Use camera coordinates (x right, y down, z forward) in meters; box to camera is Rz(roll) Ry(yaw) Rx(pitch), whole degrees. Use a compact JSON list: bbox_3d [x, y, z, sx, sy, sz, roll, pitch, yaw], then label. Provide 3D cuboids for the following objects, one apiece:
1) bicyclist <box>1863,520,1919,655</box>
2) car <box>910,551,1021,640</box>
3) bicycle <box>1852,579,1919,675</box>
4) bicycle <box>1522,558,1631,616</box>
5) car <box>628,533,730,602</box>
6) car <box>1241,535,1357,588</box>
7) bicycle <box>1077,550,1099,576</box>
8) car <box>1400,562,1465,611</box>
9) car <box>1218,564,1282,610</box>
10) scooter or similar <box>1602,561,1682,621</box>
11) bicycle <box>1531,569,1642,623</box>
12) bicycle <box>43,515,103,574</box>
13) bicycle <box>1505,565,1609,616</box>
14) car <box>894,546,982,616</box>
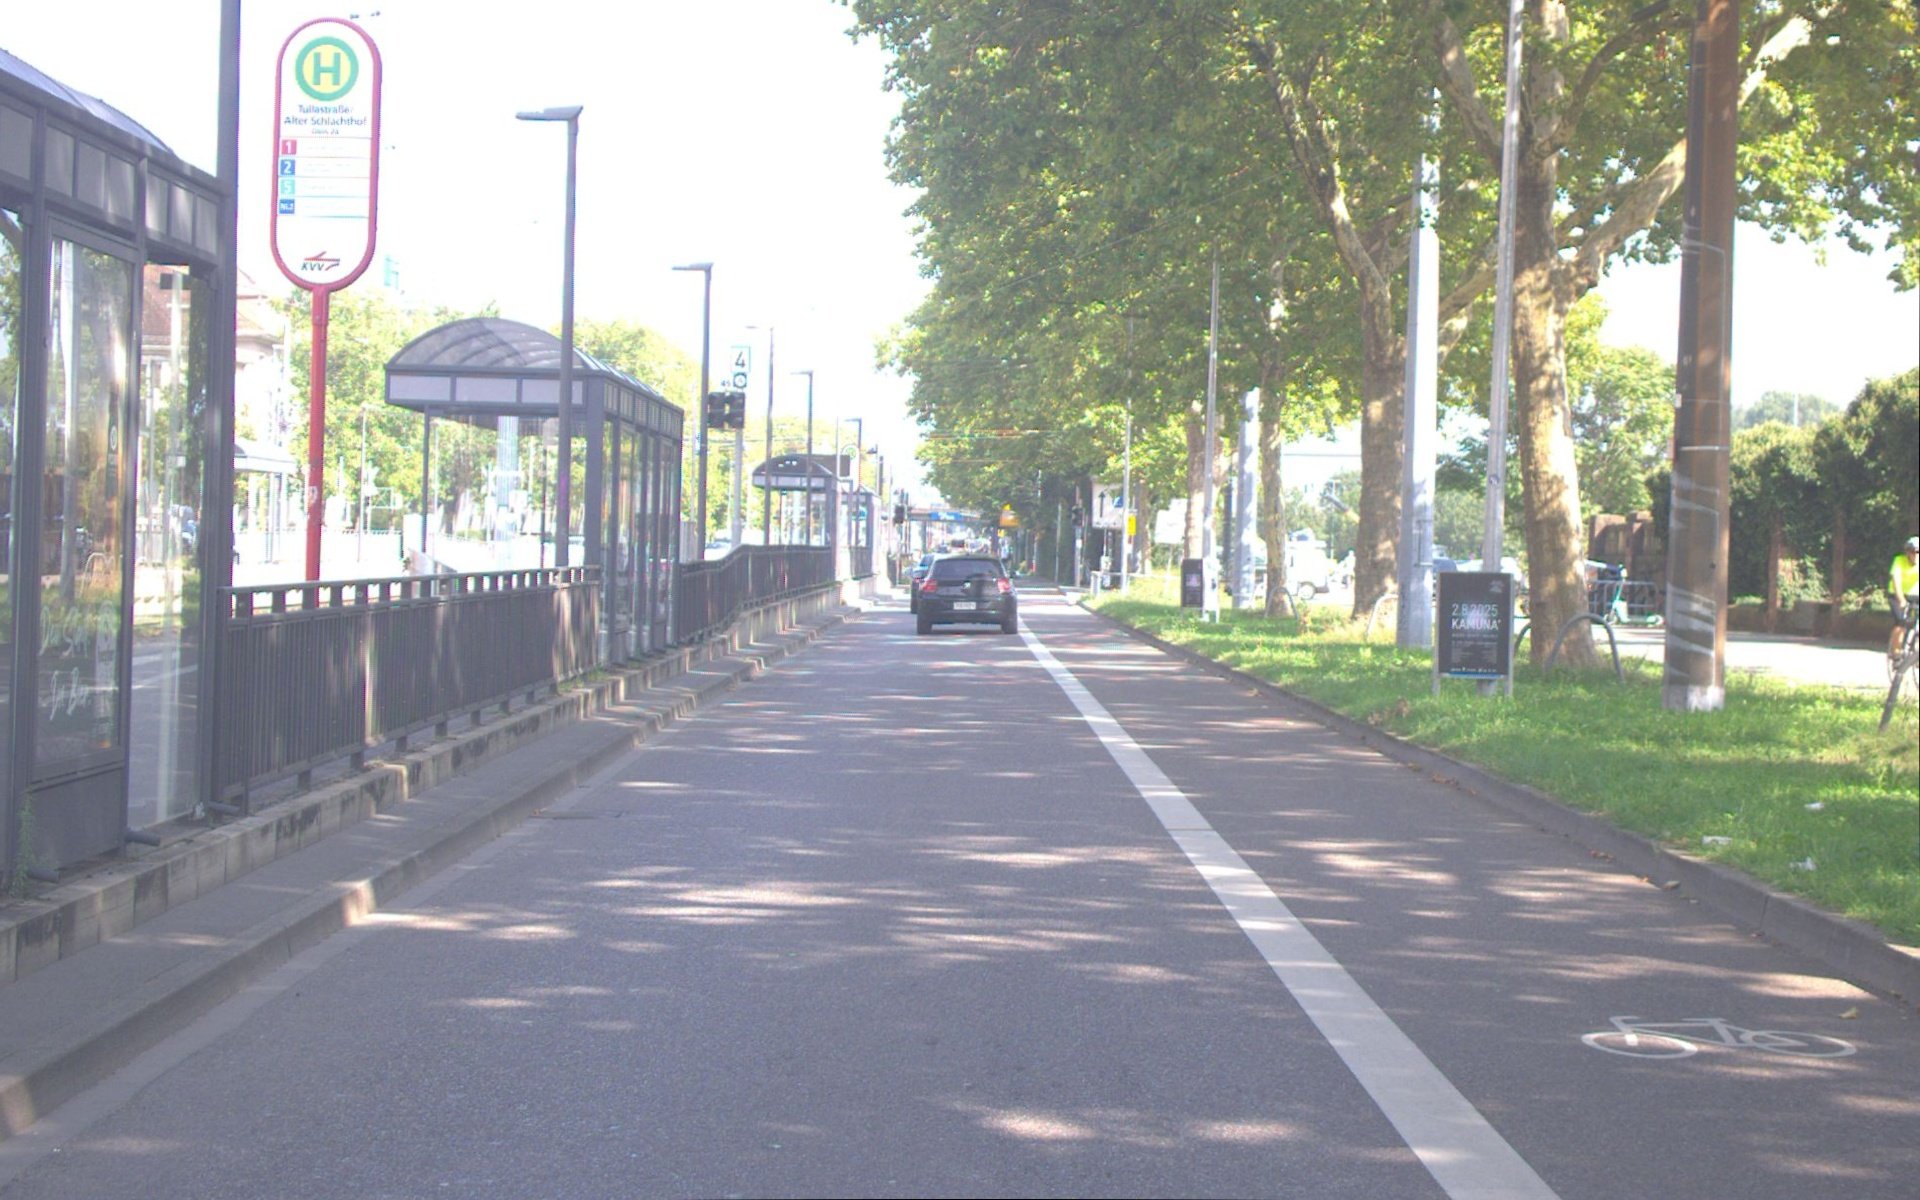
[{"bbox_3d":[10.294,-0.140,37.662,0.548,1.448,0.842,1,1,0],"label":"bicyclist"},{"bbox_3d":[0.073,-0.105,61.622,1.907,1.532,4.000,0,1,-1],"label":"car"},{"bbox_3d":[10.283,0.285,37.680,0.548,1.003,1.713,1,1,0],"label":"bicycle"},{"bbox_3d":[13.851,-0.284,77.280,2.244,1.272,0.999,-1,0,0],"label":"bicycle"},{"bbox_3d":[-6.580,-0.782,80.887,1.993,1.554,4.000,1,1,1],"label":"car"},{"bbox_3d":[12.338,-1.400,125.249,4.104,1.912,1.847,0,1,3],"label":"car"},{"bbox_3d":[5.228,-1.535,140.816,0.610,1.018,2.403,1,1,-4],"label":"bicycle"},{"bbox_3d":[15.534,-0.464,113.089,1.607,1.570,3.796,0,1,0],"label":"car"},{"bbox_3d":[9.428,-0.429,111.946,1.728,1.444,4.551,0,1,0],"label":"car"},{"bbox_3d":[13.569,-0.179,68.451,1.506,1.187,0.538,0,0,4],"label":"scooter or similar"},{"bbox_3d":[13.256,-0.089,72.761,2.173,1.073,0.743,1,1,-1],"label":"bicycle"},{"bbox_3d":[-17.625,-1.099,68.325,0.471,1.143,1.482,2,1,15],"label":"bicycle"},{"bbox_3d":[13.159,-0.211,75.824,2.174,1.073,0.743,-1,0,4],"label":"bicycle"},{"bbox_3d":[-0.537,-0.465,81.058,1.973,1.532,4.000,-2,1,-1],"label":"car"}]
